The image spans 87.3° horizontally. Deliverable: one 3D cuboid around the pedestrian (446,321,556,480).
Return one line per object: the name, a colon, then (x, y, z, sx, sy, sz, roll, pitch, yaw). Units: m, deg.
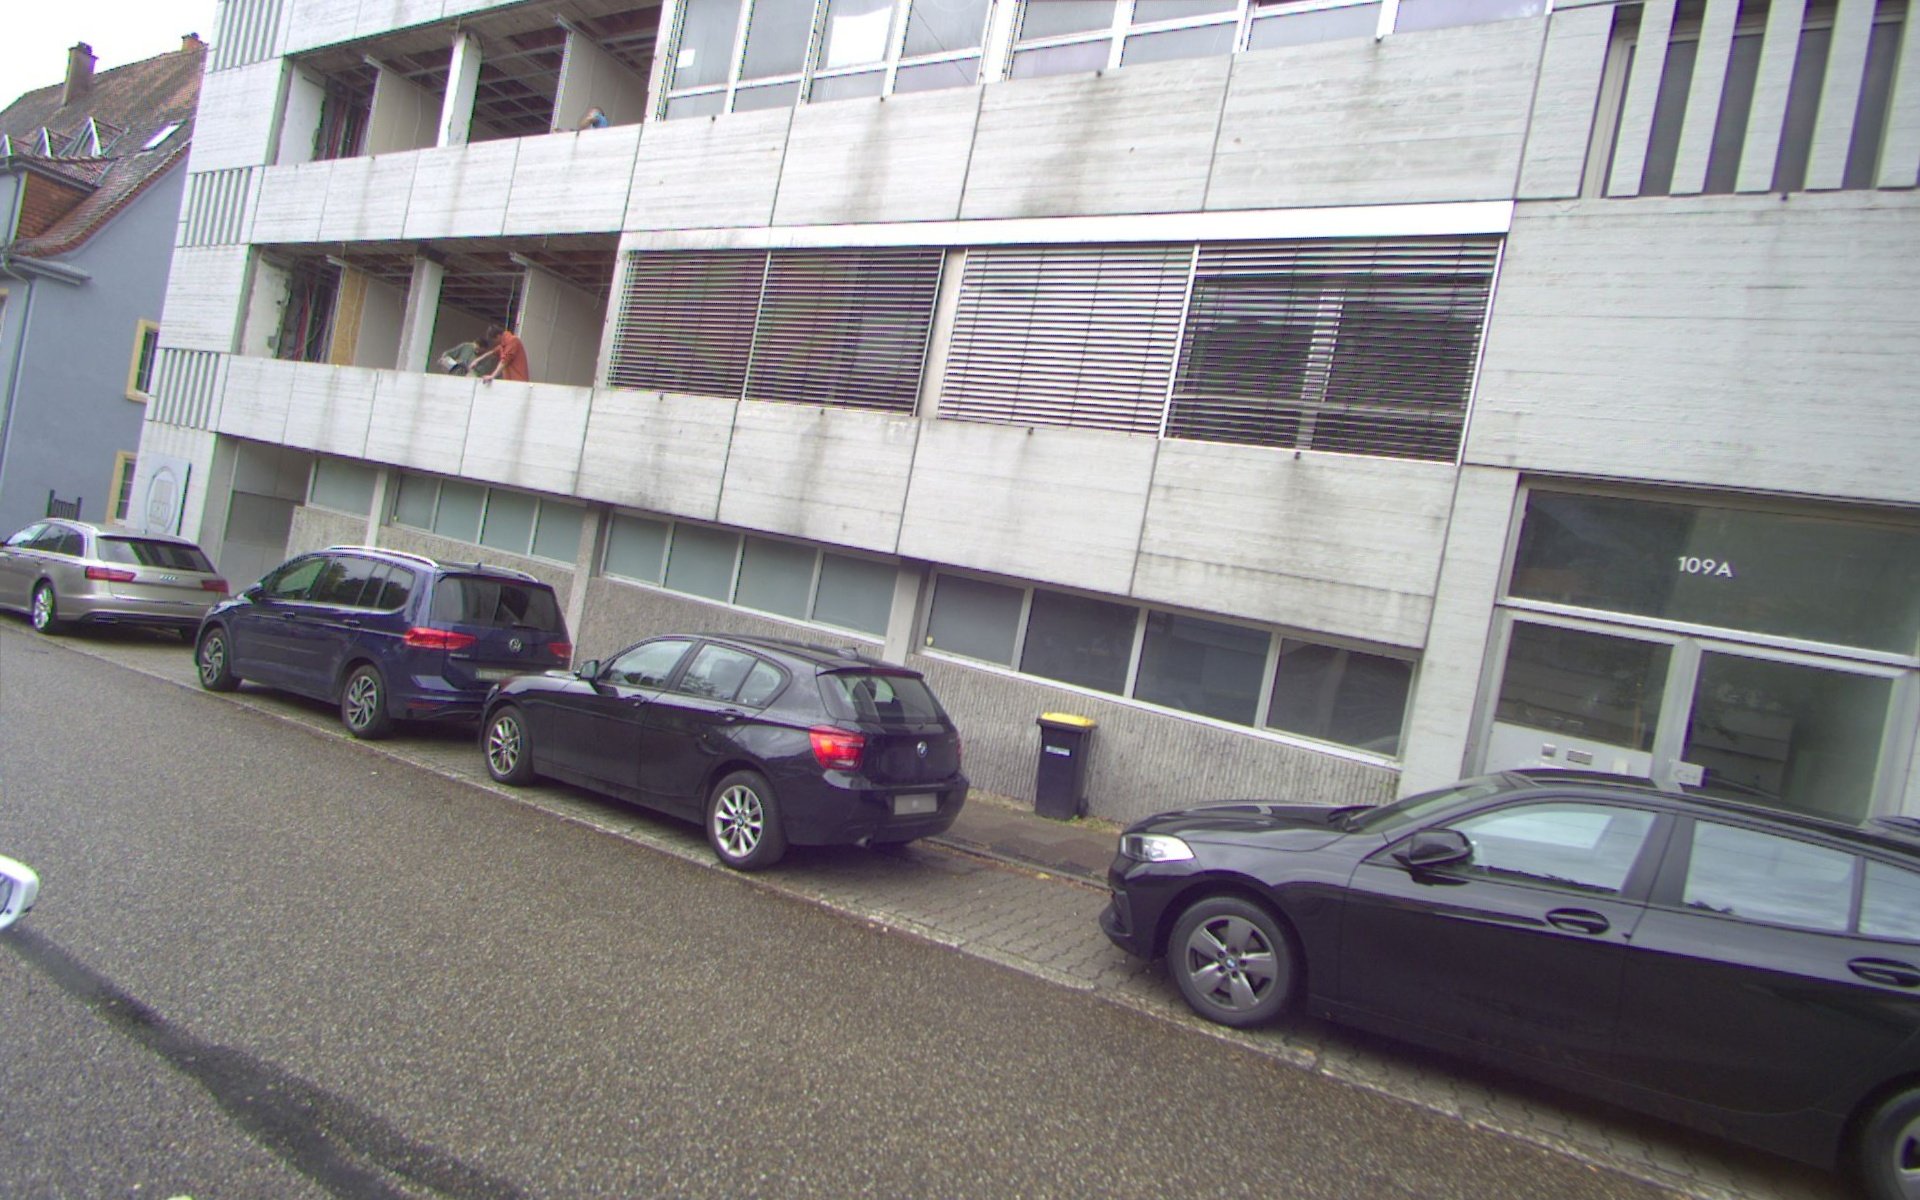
pedestrian: (-6.639, -2.859, 14.569, 0.847, 2.036, 0.909, 6, -2, 31)

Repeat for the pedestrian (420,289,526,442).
pedestrian: (-7.398, -3.525, 15.298, 0.847, 2.036, 0.909, 6, -2, 31)

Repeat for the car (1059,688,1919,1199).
car: (2.961, 1.506, 4.918, 4.367, 1.451, 1.999, 7, -2, 30)

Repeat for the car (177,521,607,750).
car: (-5.689, 0.293, 9.981, 4.090, 1.618, 1.732, 7, -1, 30)

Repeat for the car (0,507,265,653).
car: (-11.976, -0.339, 13.992, 4.449, 1.465, 1.967, 7, -2, 30)

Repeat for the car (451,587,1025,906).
car: (-1.819, 0.904, 7.647, 4.183, 1.465, 1.750, 7, -1, 34)
